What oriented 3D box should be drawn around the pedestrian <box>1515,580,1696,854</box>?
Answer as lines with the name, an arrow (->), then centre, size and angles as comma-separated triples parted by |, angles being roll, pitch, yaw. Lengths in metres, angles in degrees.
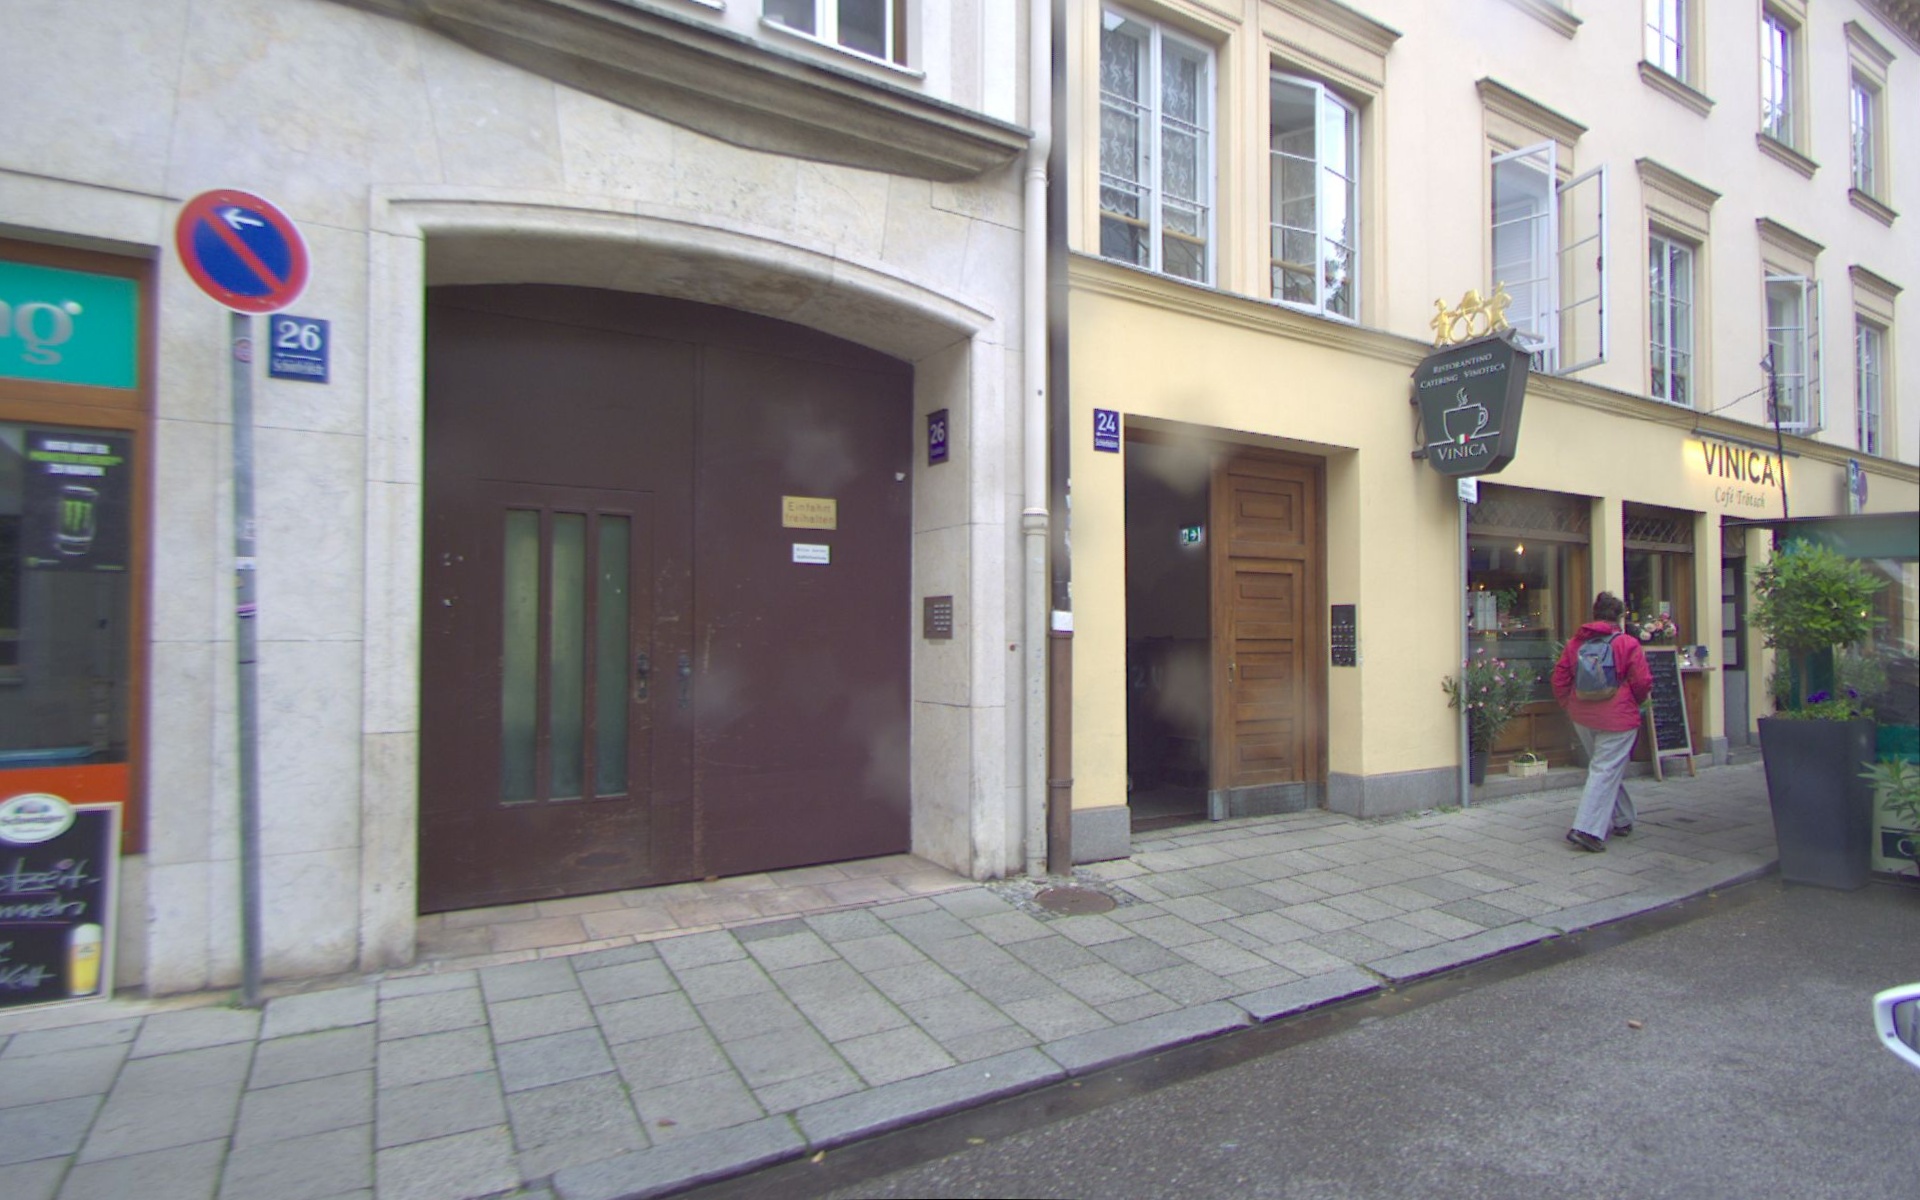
pedestrian -> 4.415, 0.754, 6.888 | 0.777, 1.731, 0.761 | 1, -2, -33

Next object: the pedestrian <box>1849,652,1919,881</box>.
pedestrian -> 5.940, 1.006, 6.214 | 0.624, 1.344, 0.507 | 1, -1, -32
